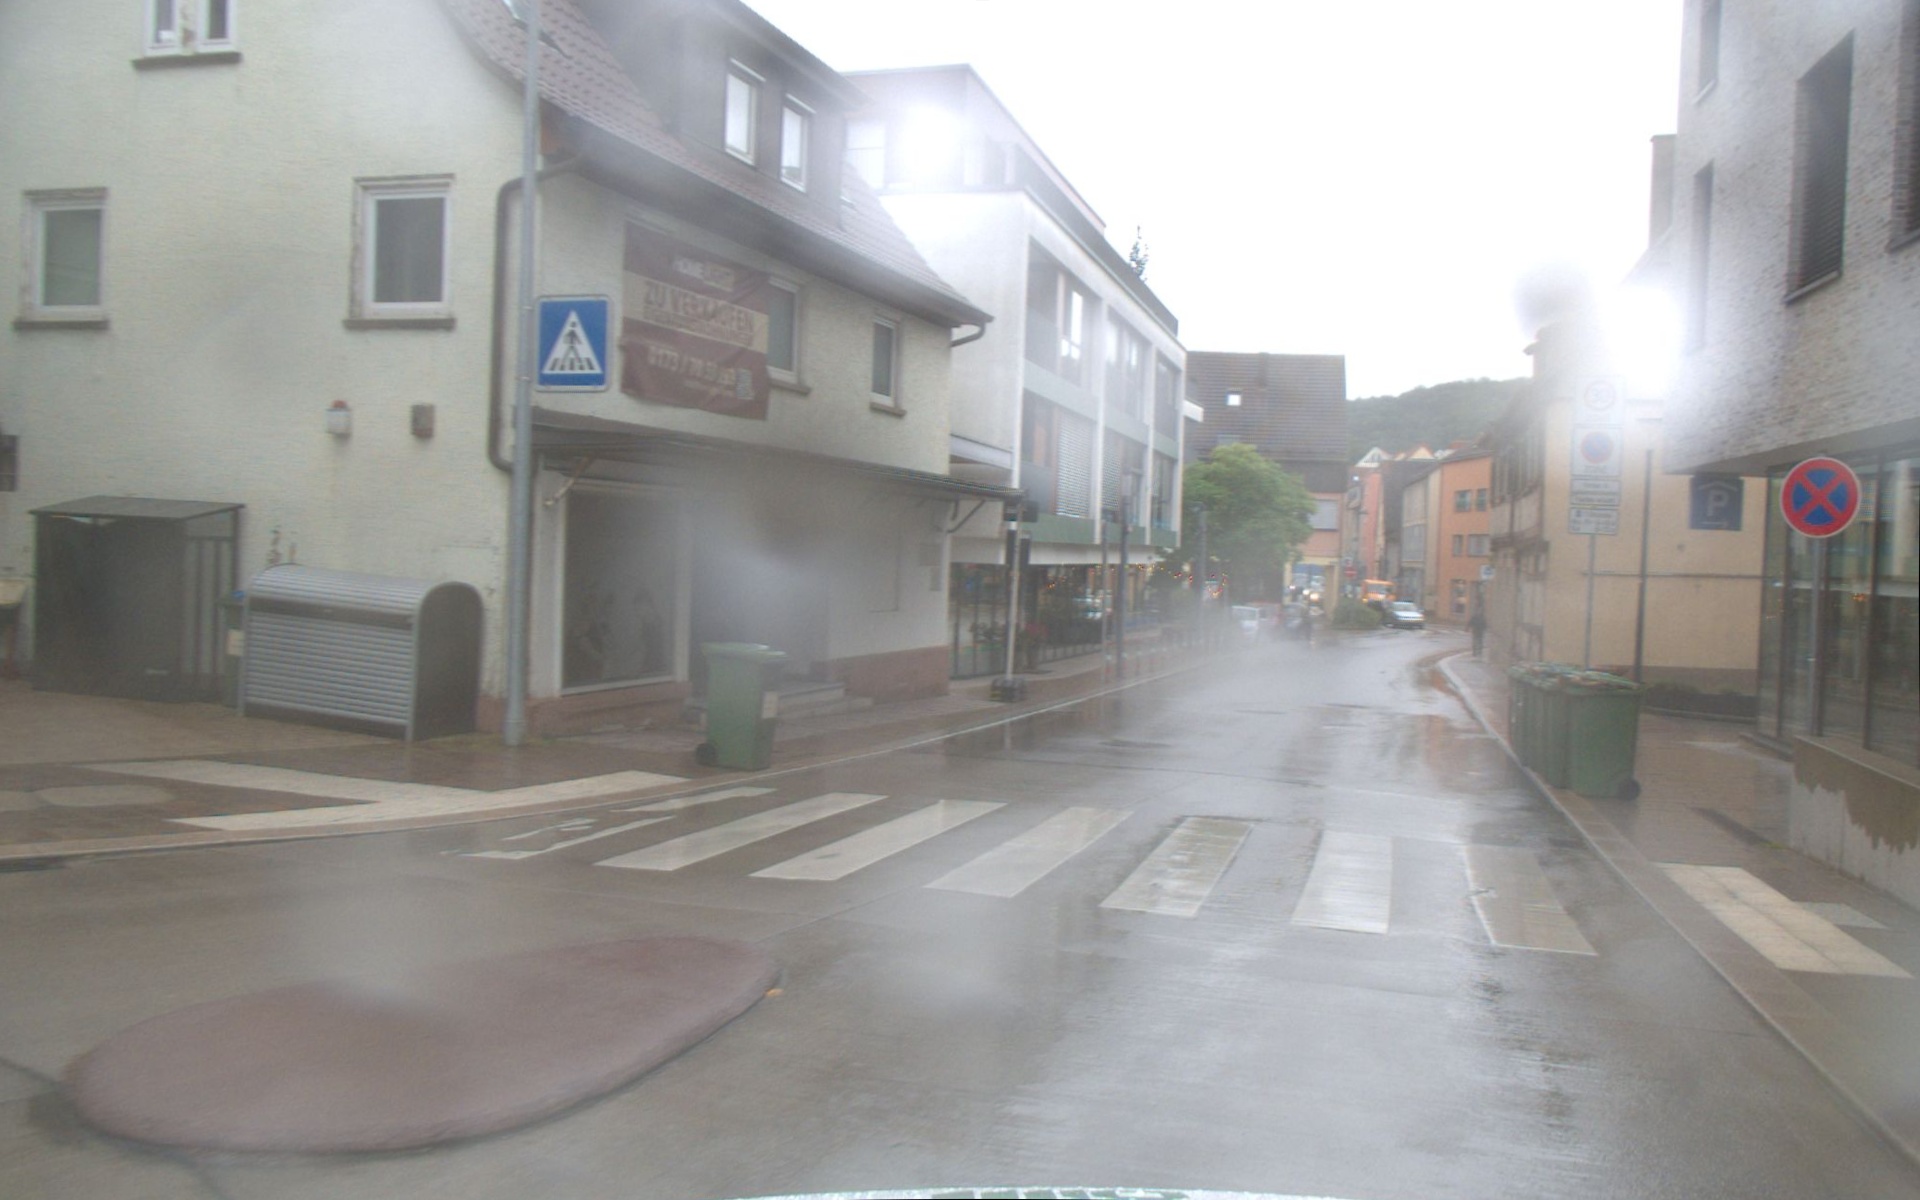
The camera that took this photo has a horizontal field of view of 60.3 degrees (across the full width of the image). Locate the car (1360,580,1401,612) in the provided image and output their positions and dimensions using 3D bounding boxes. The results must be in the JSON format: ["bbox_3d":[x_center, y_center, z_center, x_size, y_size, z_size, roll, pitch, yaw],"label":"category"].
[{"bbox_3d":[30.003,-0.278,118.215,2.059,2.184,4.870,0,0,5],"label":"car"}]

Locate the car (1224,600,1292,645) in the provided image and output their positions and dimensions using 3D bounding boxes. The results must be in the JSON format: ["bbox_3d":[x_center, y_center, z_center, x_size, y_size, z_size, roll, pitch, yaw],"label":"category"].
[{"bbox_3d":[11.016,0.821,60.998,1.749,1.525,4.456,2,0,19],"label":"car"}]

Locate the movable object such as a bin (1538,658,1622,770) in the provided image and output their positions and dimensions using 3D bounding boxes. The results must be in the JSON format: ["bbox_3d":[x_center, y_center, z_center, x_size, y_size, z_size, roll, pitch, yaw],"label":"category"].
[{"bbox_3d":[6.525,1.189,17.434,0.749,1.114,0.581,1,0,15],"label":"movable object such as a bin"}]

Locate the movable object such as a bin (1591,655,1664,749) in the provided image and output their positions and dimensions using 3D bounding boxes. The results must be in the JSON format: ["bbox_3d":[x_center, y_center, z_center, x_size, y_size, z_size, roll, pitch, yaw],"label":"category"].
[{"bbox_3d":[8.319,1.263,20.632,0.749,1.114,0.627,1,0,15],"label":"movable object such as a bin"}]

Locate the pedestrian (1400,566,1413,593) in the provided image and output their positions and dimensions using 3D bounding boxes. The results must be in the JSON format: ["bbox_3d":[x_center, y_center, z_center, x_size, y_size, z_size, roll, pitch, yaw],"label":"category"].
[{"bbox_3d":[34.848,-1.580,129.145,0.848,2.048,0.708,2,1,7],"label":"pedestrian"}]

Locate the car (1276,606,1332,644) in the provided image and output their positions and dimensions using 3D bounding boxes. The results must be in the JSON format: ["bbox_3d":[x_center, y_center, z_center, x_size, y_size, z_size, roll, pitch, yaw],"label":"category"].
[{"bbox_3d":[14.860,1.068,71.334,1.680,1.483,3.910,3,1,22],"label":"car"}]

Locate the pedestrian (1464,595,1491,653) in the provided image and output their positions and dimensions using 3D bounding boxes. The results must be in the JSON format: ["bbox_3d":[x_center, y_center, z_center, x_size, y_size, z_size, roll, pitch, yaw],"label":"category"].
[{"bbox_3d":[17.326,0.785,55.432,0.793,1.918,0.908,0,0,13],"label":"pedestrian"}]

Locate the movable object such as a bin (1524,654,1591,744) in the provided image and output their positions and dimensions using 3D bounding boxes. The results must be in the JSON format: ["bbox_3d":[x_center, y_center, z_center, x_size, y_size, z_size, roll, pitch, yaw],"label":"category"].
[{"bbox_3d":[7.725,1.274,21.416,0.749,1.114,0.581,1,0,15],"label":"movable object such as a bin"}]

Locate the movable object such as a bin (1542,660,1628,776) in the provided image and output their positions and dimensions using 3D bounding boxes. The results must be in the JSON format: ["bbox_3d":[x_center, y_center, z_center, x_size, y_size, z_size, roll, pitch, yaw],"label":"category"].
[{"bbox_3d":[6.356,1.191,16.850,0.749,1.114,0.581,1,0,15],"label":"movable object such as a bin"}]

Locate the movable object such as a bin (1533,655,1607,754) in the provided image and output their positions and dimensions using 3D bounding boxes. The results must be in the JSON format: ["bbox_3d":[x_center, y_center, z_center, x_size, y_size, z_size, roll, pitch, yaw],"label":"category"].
[{"bbox_3d":[7.245,1.234,19.666,0.749,1.114,0.581,1,0,15],"label":"movable object such as a bin"}]

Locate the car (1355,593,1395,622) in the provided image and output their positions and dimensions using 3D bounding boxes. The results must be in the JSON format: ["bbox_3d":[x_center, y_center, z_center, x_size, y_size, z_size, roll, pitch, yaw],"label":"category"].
[{"bbox_3d":[23.397,0.396,93.261,1.678,1.483,3.913,3,1,7],"label":"car"}]

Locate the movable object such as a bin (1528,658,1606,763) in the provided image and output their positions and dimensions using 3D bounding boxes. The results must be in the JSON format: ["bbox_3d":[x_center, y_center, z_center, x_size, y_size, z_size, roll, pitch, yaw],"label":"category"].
[{"bbox_3d":[6.794,1.226,18.540,0.749,1.114,0.581,1,0,15],"label":"movable object such as a bin"}]

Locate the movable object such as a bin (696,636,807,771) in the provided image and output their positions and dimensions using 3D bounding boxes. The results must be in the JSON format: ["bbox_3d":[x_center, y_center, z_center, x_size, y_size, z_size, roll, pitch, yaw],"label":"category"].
[{"bbox_3d":[-1.836,0.894,14.648,0.672,1.100,0.761,5,0,13],"label":"movable object such as a bin"}]

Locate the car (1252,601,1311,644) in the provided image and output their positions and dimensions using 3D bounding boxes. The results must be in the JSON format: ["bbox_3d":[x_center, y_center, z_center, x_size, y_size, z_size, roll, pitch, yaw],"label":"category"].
[{"bbox_3d":[12.993,0.888,66.672,1.749,1.604,4.108,2,0,19],"label":"car"}]

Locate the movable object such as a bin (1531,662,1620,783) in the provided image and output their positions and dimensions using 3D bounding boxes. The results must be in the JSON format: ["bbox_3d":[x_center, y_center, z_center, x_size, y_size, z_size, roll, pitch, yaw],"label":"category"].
[{"bbox_3d":[6.028,1.190,16.228,0.724,1.114,0.658,1,0,14],"label":"movable object such as a bin"}]

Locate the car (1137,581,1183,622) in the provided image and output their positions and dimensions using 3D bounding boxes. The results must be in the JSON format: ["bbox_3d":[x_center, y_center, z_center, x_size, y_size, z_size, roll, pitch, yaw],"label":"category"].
[{"bbox_3d":[10.624,0.059,87.608,1.774,1.644,4.006,2,7,16],"label":"car"}]

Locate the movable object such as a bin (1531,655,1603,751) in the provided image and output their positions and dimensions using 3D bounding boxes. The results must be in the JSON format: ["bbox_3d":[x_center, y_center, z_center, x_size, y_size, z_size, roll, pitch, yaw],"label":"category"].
[{"bbox_3d":[7.428,1.249,20.259,0.749,1.114,0.581,1,0,15],"label":"movable object such as a bin"}]

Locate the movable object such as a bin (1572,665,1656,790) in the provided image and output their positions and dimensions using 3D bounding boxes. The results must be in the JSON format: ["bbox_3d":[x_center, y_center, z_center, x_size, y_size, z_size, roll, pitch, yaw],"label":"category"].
[{"bbox_3d":[6.141,1.183,15.552,0.649,1.114,0.551,1,0,13],"label":"movable object such as a bin"}]

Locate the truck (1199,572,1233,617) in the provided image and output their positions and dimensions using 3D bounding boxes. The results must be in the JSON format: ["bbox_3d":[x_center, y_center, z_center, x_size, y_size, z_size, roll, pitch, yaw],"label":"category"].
[{"bbox_3d":[13.569,-0.324,87.526,1.563,2.098,3.197,0,5,12],"label":"truck"}]

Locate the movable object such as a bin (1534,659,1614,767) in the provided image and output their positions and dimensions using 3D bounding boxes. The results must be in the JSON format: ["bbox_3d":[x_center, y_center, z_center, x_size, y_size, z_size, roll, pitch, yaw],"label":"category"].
[{"bbox_3d":[6.656,1.217,17.955,0.749,1.114,0.581,1,0,15],"label":"movable object such as a bin"}]
